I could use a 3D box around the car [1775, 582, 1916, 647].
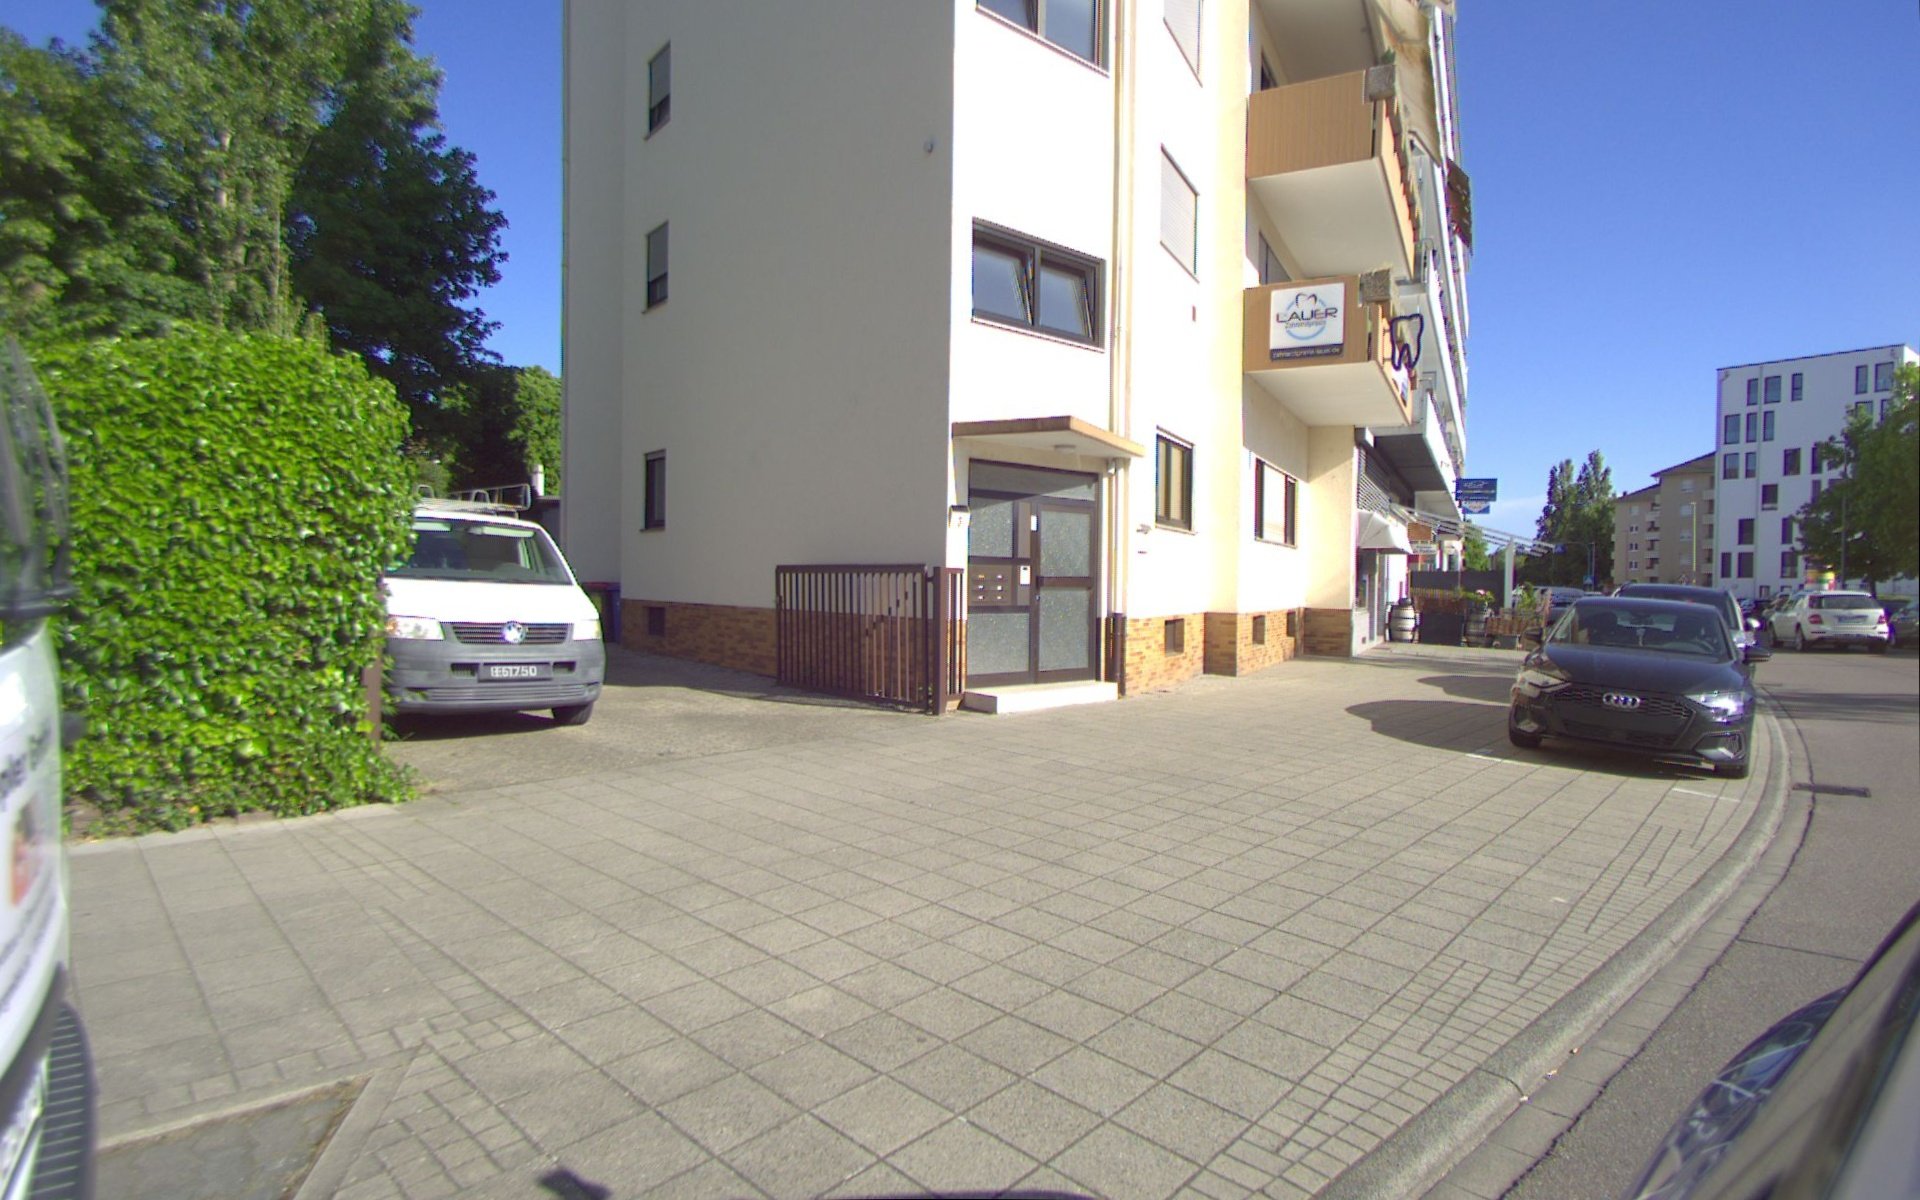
[{"bbox_3d":[25.851,0.374,29.747,2.120,1.758,4.786,-1,0,29],"label":"car"}]

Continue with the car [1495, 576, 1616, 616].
[{"bbox_3d":[28.137,-0.209,47.865,4.734,1.758,2.143,-1,0,-13],"label":"car"}]

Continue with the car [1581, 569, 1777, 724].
[{"bbox_3d":[9.615,0.491,13.409,1.751,1.632,3.943,6,4,39],"label":"car"}]

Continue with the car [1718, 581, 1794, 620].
[{"bbox_3d":[40.252,0.003,51.308,2.119,1.833,4.789,-1,0,28],"label":"car"}]

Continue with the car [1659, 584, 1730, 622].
[{"bbox_3d":[35.740,0.134,49.386,2.119,1.758,4.789,-1,0,28],"label":"car"}]

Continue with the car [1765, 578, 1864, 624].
[{"bbox_3d":[35.731,0.029,42.460,2.119,1.833,4.789,-1,0,28],"label":"car"}]

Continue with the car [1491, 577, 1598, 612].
[{"bbox_3d":[31.340,-0.288,54.317,4.734,1.758,2.143,-1,0,-13],"label":"car"}]

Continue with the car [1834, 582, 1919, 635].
[{"bbox_3d":[30.779,0.243,33.208,2.119,1.634,4.789,-1,0,28],"label":"car"}]

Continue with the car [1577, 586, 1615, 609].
[{"bbox_3d":[50.304,-0.237,80.136,2.119,1.758,4.789,-1,0,28],"label":"car"}]

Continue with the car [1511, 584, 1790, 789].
[{"bbox_3d":[6.616,0.615,9.677,1.750,1.411,3.947,6,4,37],"label":"car"}]

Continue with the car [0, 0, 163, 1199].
[{"bbox_3d":[-3.224,0.301,0.250,4.712,2.038,1.999,0,4,-40],"label":"car"}]

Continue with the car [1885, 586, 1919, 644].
[{"bbox_3d":[28.237,0.426,28.437,2.119,1.634,4.789,-1,0,28],"label":"car"}]

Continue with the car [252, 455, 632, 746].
[{"bbox_3d":[-5.219,-0.042,9.791,5.008,2.117,1.826,1,1,45],"label":"car"}]
